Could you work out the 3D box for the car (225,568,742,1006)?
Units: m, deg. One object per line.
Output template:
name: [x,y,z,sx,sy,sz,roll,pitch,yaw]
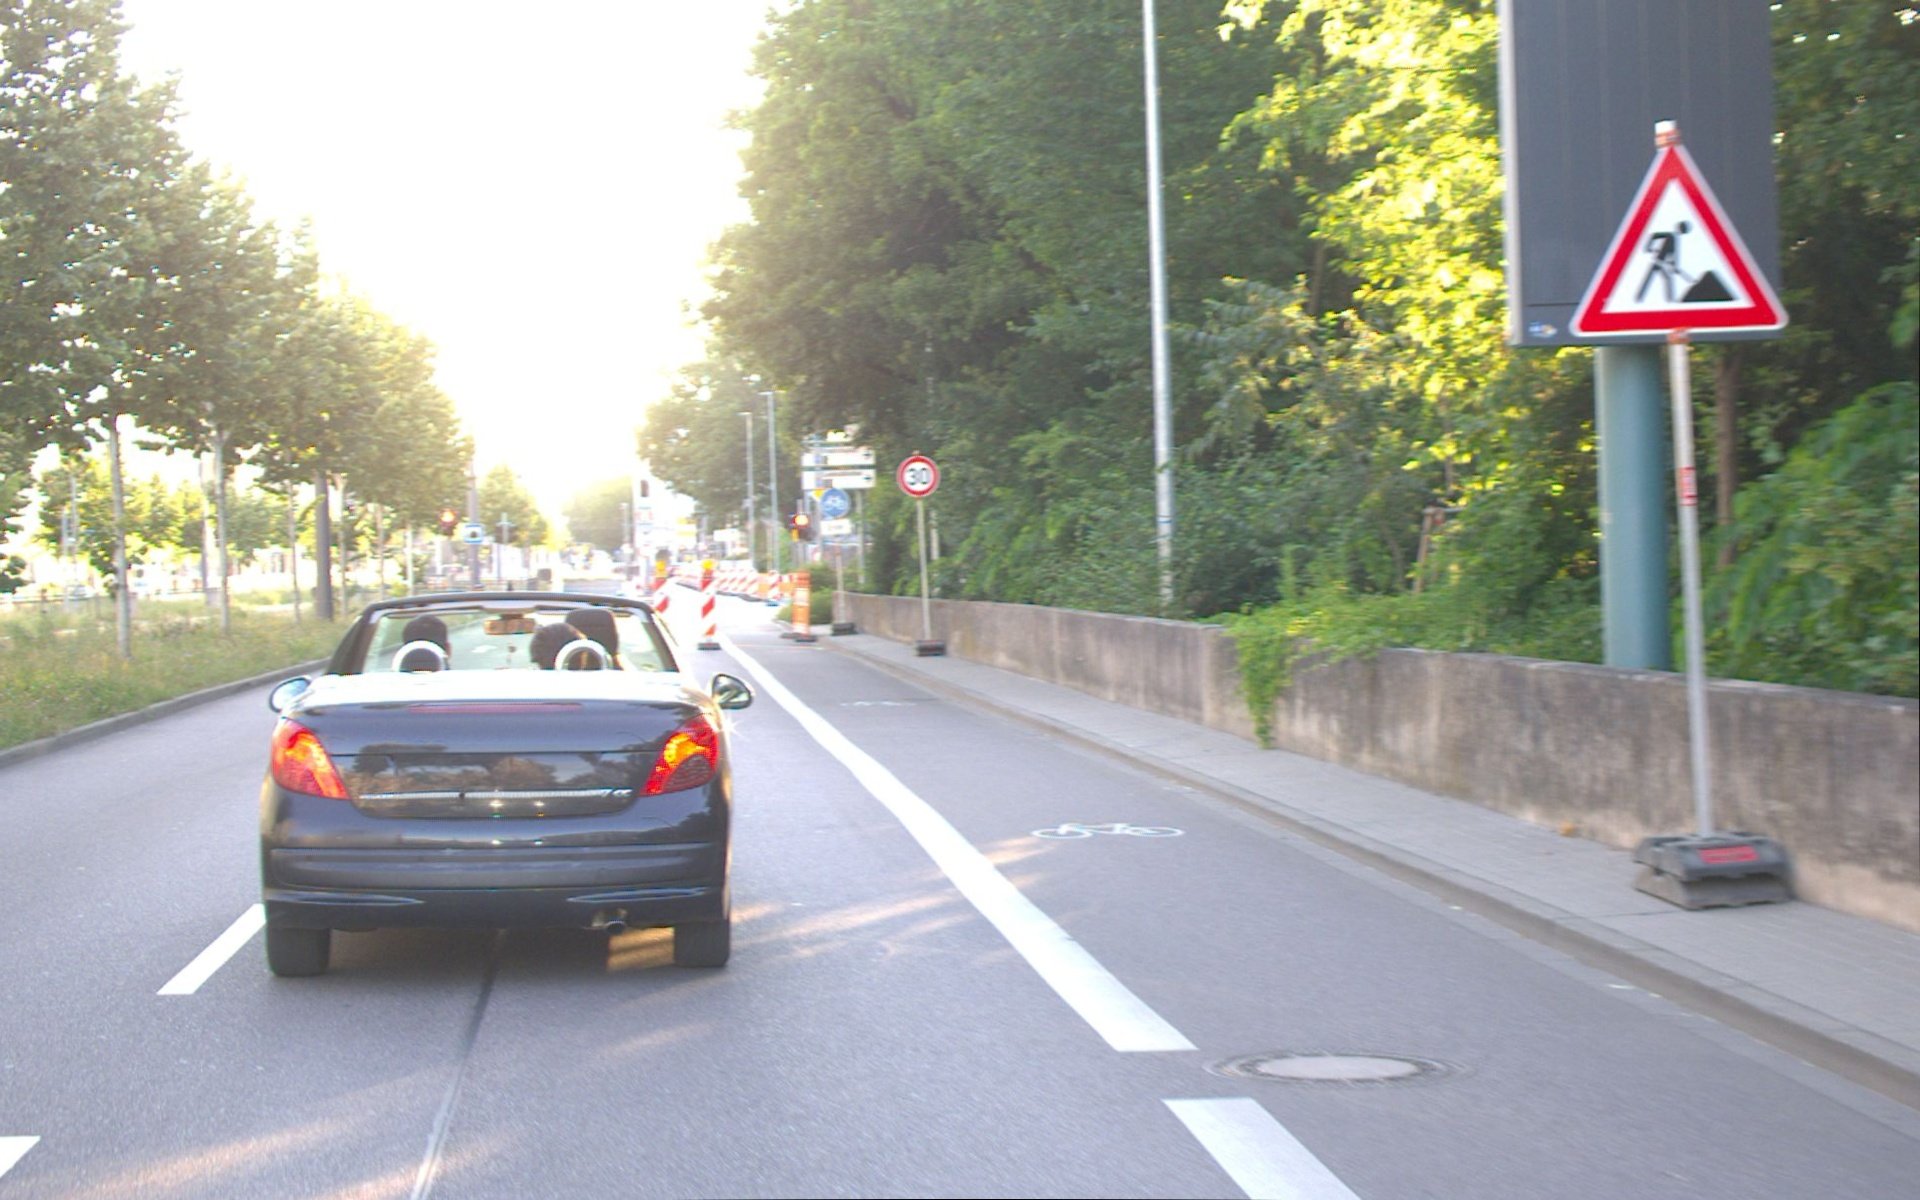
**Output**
car: [-1.915,0.616,13.649,1.718,1.445,3.902,-1,1,-9]
